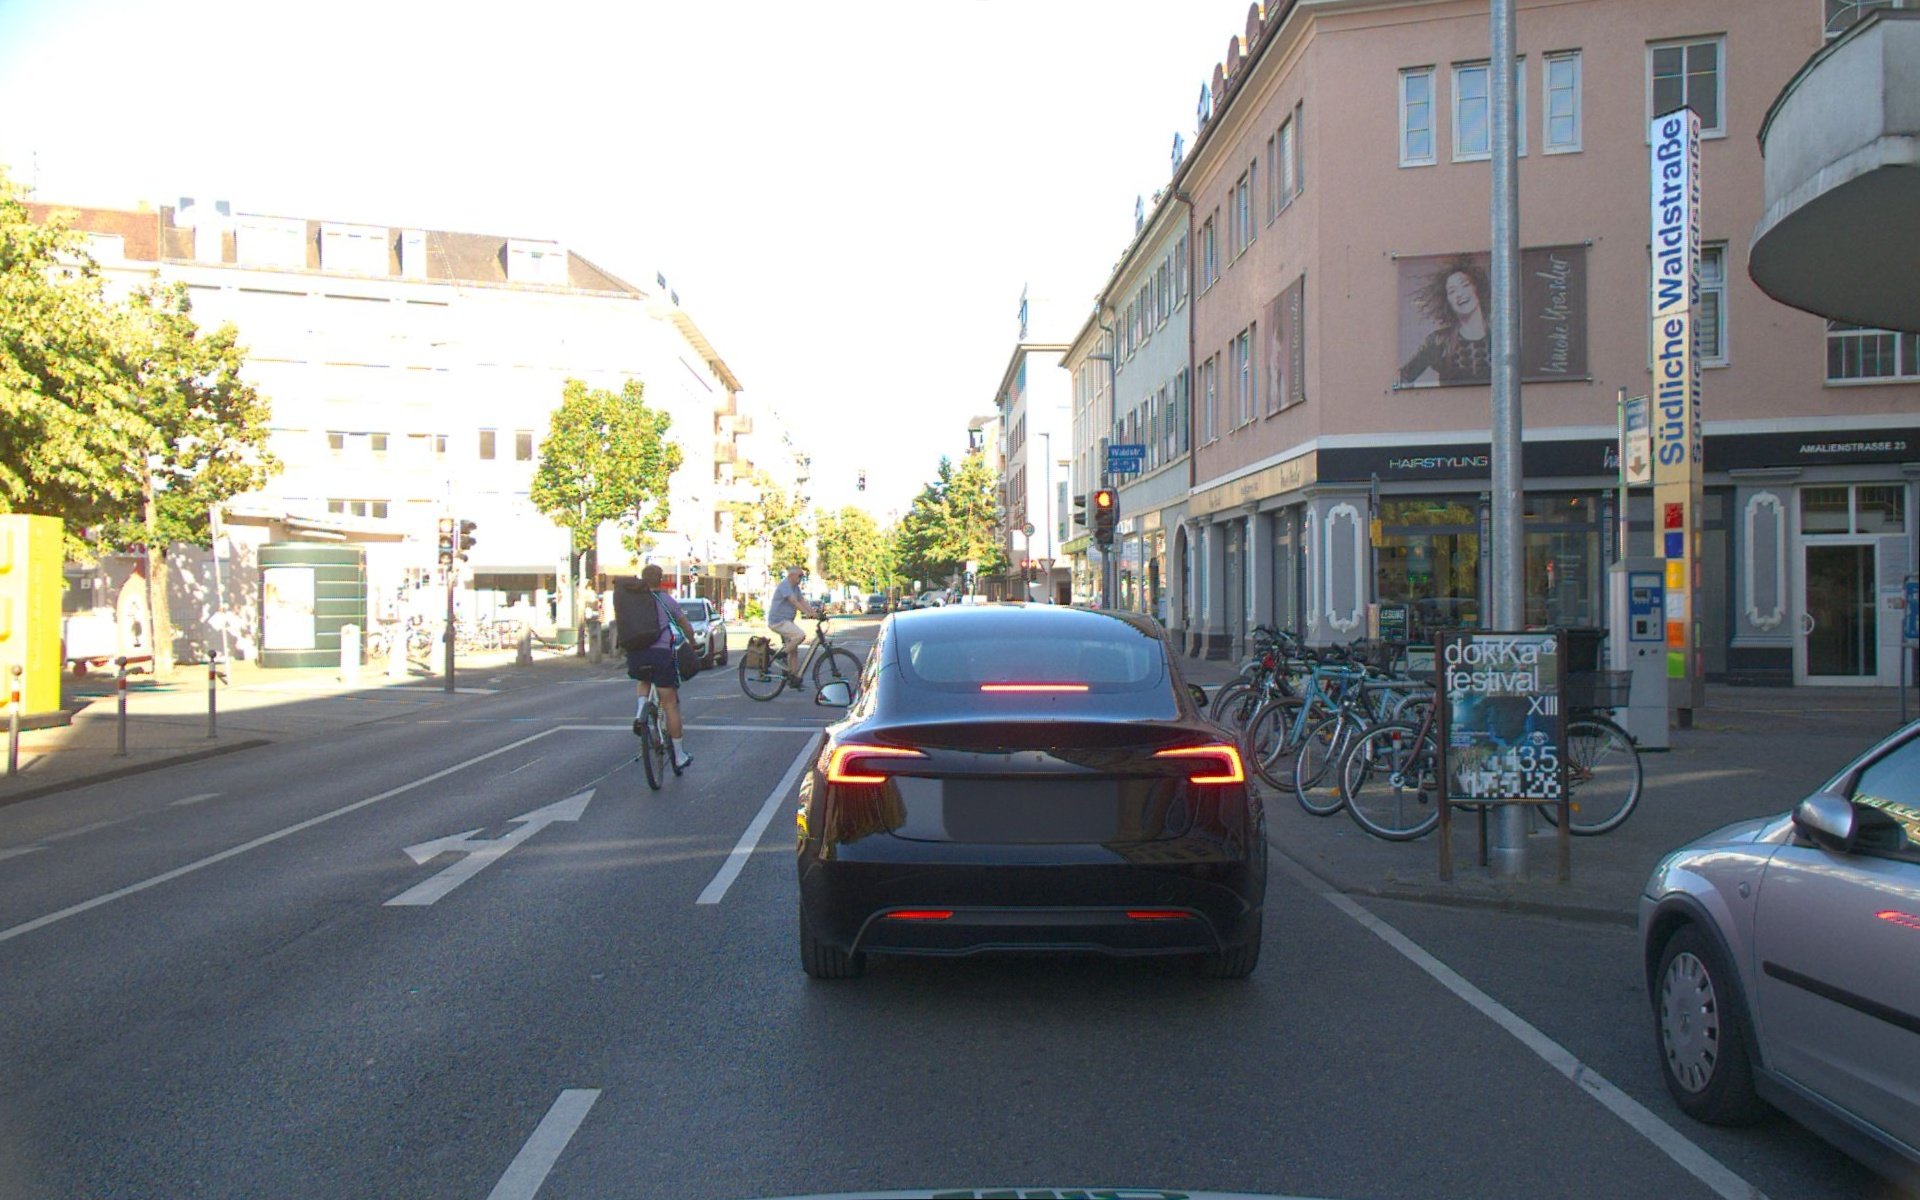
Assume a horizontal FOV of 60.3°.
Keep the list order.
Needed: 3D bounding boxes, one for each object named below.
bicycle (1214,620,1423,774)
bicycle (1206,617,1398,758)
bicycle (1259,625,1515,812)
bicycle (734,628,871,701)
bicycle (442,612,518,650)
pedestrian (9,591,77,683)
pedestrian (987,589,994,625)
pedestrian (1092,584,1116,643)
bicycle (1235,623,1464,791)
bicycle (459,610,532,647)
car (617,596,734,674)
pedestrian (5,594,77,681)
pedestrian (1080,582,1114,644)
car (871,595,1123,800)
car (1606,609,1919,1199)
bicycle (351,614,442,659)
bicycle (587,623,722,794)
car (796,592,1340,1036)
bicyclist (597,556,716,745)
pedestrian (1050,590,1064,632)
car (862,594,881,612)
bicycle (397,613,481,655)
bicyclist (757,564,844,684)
[{"bbox_3d":[2.933,0.787,13.581,1.595,1.180,0.432,-2,0,-2],"label":"bicycle"},{"bbox_3d":[3.050,0.774,14.804,1.594,1.180,0.433,-2,0,0],"label":"bicycle"},{"bbox_3d":[2.887,0.789,11.240,1.595,1.180,0.432,-2,0,-2],"label":"bicycle"},{"bbox_3d":[-2.239,0.905,23.563,1.823,0.962,0.629,1,0,10],"label":"bicycle"},{"bbox_3d":[-14.432,0.933,49.752,2.040,1.123,0.806,0,0,-1],"label":"bicycle"},{"bbox_3d":[-17.721,0.707,31.981,0.882,1.755,0.744,0,0,3],"label":"pedestrian"},{"bbox_3d":[1.744,0.412,94.460,0.376,2.049,0.297,0,0,-1],"label":"pedestrian"},{"bbox_3d":[4.438,0.408,50.934,0.689,1.814,0.533,0,0,-1],"label":"pedestrian"},{"bbox_3d":[2.923,0.794,12.469,1.595,1.180,0.432,-2,0,-2],"label":"bicycle"},{"bbox_3d":[-14.575,0.892,51.944,2.040,1.123,0.806,0,0,-1],"label":"bicycle"},{"bbox_3d":[-6.398,0.752,37.596,1.953,1.567,3.999,-3,0,-1],"label":"car"},{"bbox_3d":[-17.760,0.710,31.973,0.966,1.665,0.737,0,0,3],"label":"pedestrian"},{"bbox_3d":[4.232,0.398,50.969,0.979,1.883,0.615,0,0,-1],"label":"pedestrian"},{"bbox_3d":[0.267,0.700,13.827,1.812,1.480,3.786,0,0,0],"label":"car"},{"bbox_3d":[2.917,0.744,3.498,1.588,1.419,3.886,0,0,0],"label":"car"},{"bbox_3d":[-14.456,0.928,42.458,2.040,1.123,0.806,0,0,-1],"label":"bicycle"},{"bbox_3d":[-2.426,0.829,13.323,0.780,1.254,1.773,0,0,-1],"label":"bicycle"},{"bbox_3d":[0.363,0.711,7.412,1.812,1.480,3.786,0,0,0],"label":"car"},{"bbox_3d":[-2.425,0.388,13.324,0.780,1.460,1.008,0,0,-1],"label":"bicyclist"},{"bbox_3d":[3.981,0.462,67.929,0.559,1.720,0.387,0,0,-1],"label":"pedestrian"},{"bbox_3d":[-8.639,0.320,162.032,1.793,1.754,3.998,0,0,-2],"label":"car"},{"bbox_3d":[-14.163,0.916,44.982,2.040,1.123,0.806,0,0,-1],"label":"bicycle"},{"bbox_3d":[-2.271,0.331,23.582,1.096,1.683,0.629,0,0,10],"label":"bicyclist"}]
